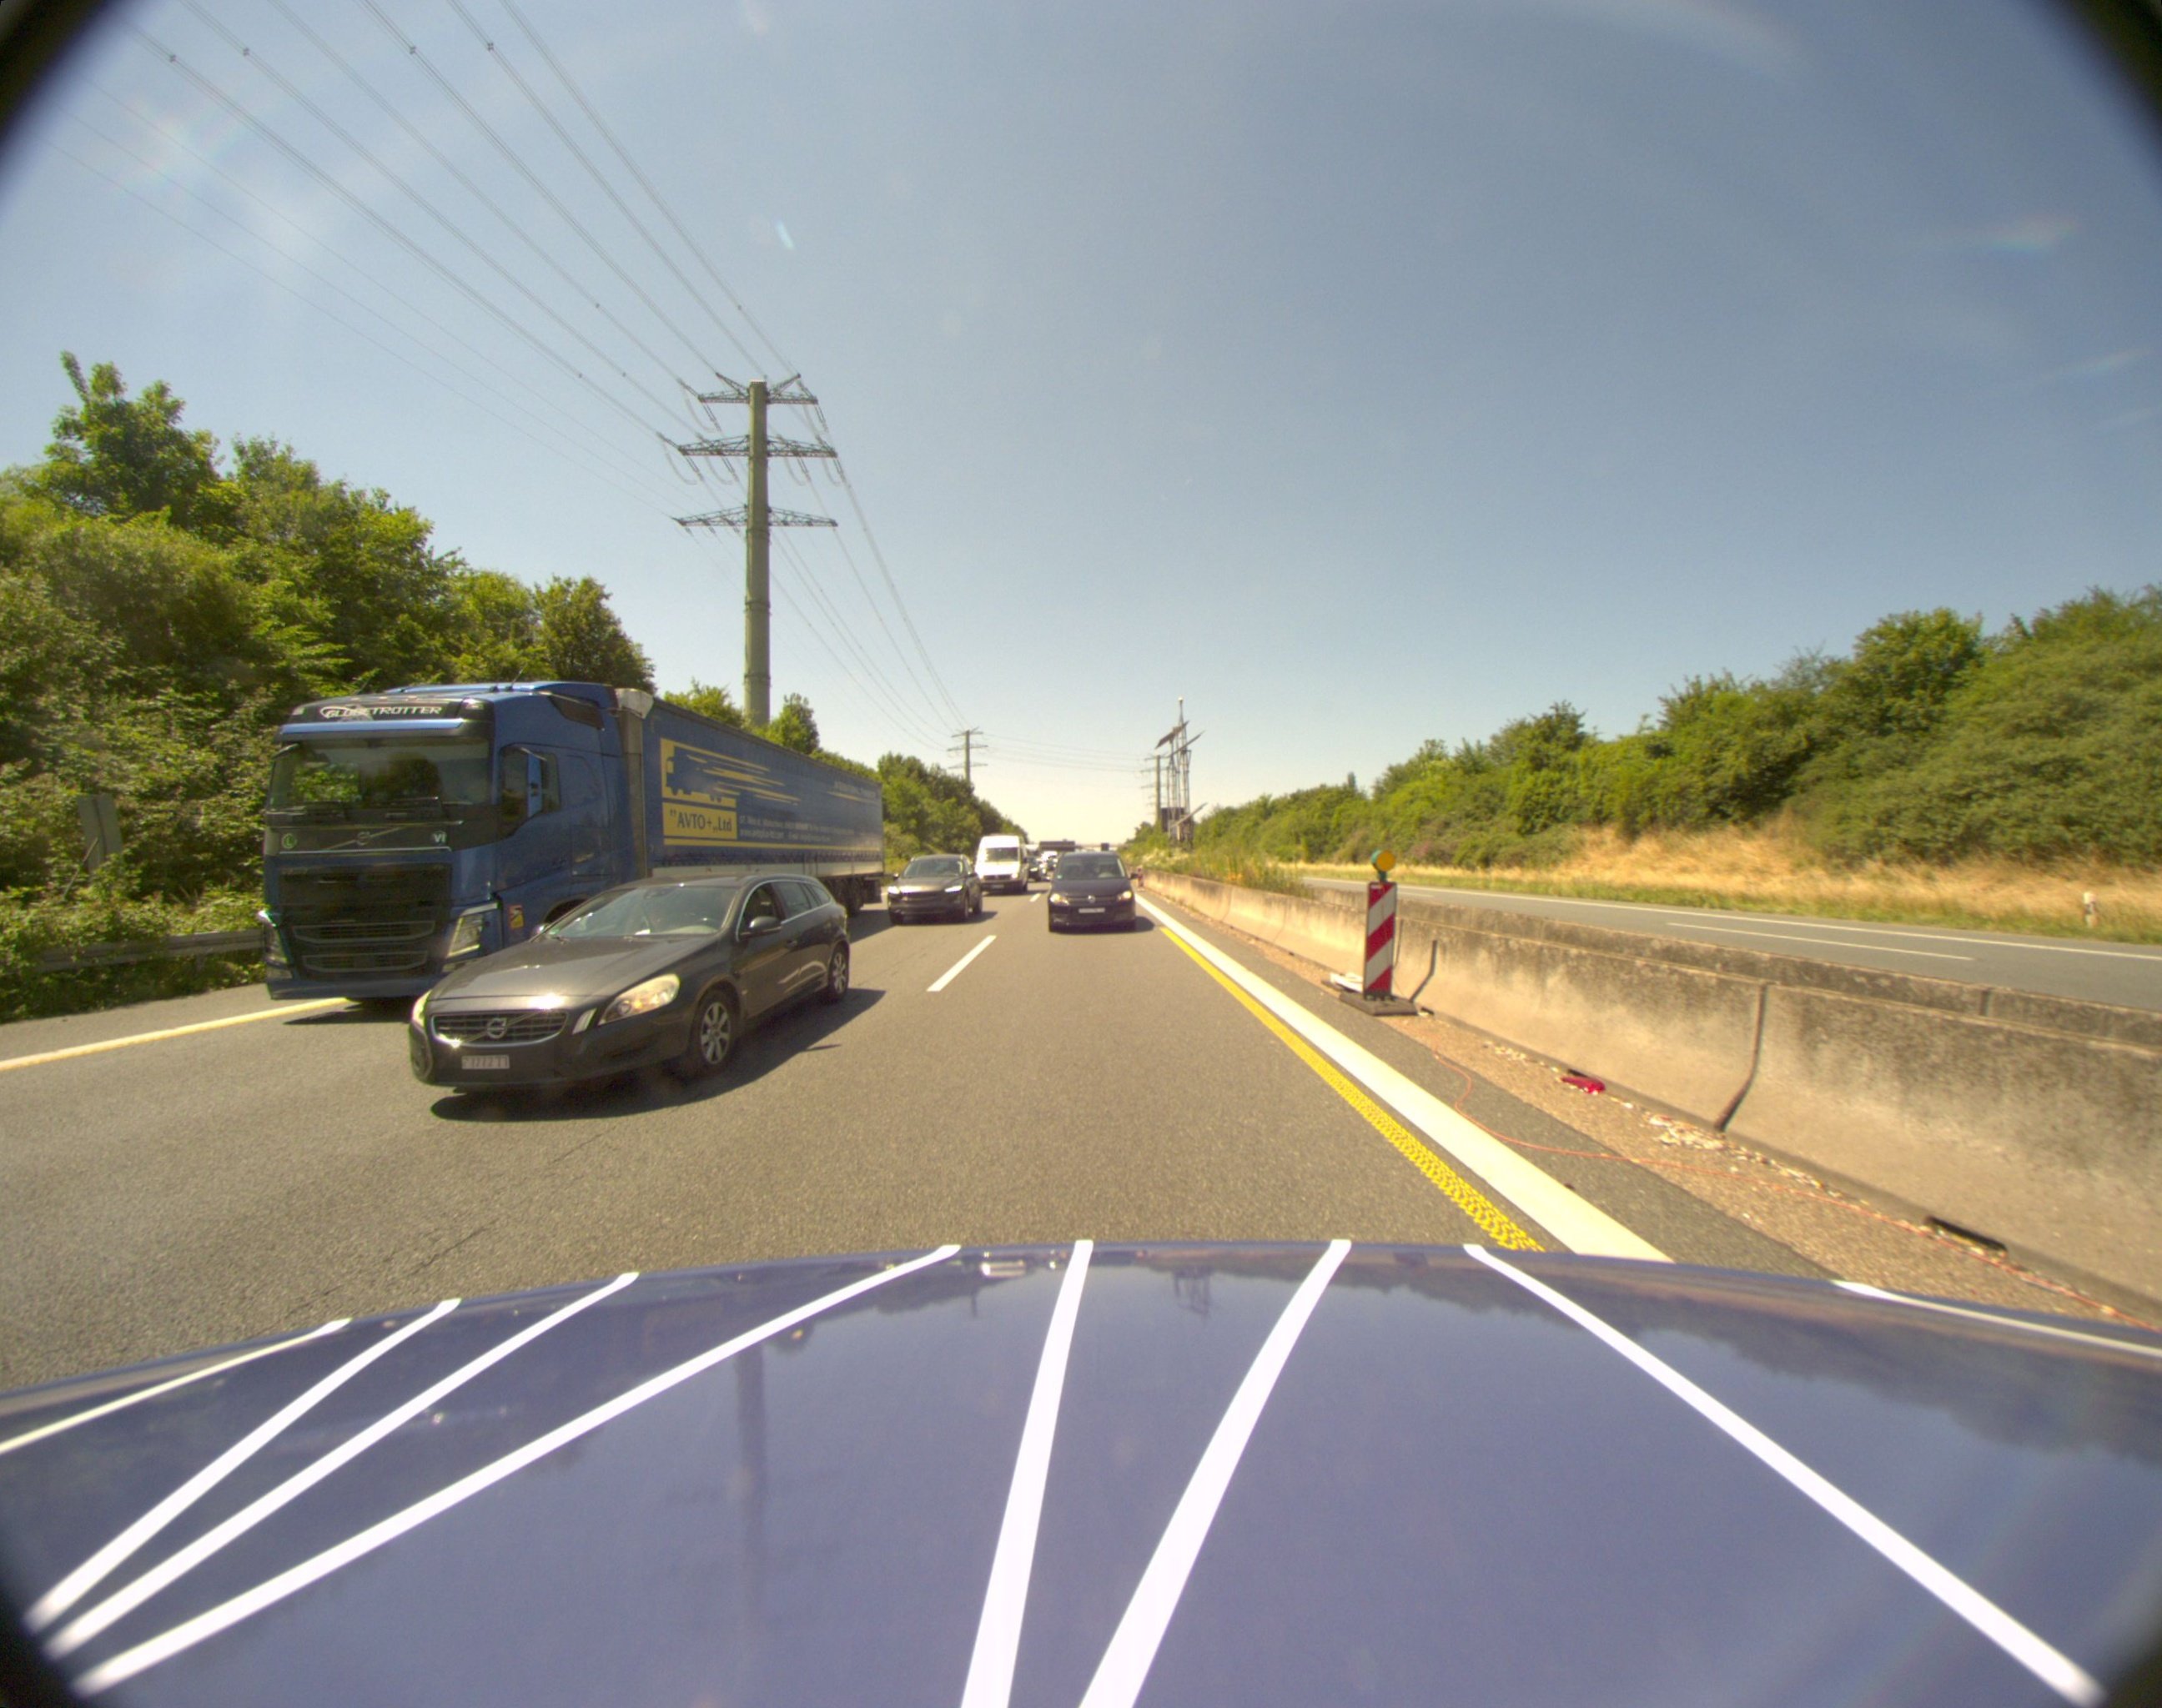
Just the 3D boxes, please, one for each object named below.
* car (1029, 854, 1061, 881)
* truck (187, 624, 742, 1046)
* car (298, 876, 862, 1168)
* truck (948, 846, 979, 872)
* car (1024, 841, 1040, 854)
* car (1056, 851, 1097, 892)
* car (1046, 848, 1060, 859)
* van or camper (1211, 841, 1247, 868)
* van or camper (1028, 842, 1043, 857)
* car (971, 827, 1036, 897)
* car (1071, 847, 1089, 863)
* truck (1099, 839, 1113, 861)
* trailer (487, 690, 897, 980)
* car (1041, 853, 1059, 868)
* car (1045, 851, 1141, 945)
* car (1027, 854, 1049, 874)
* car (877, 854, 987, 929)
[{"bbox_3d":[-2.222,0.819,47.713,1.720,1.510,3.873,-2,1,1],"label":"car"},{"bbox_3d":[-7.428,-0.208,10.443,2.792,4.121,5.636,-2,1,0],"label":"truck"},{"bbox_3d":[-3.485,1.023,6.560,1.799,1.411,4.509,-2,1,0],"label":"car"},{"bbox_3d":[-10.626,0.399,69.214,2.254,2.155,5.726,-2,1,-4],"label":"truck"},{"bbox_3d":[-6.210,-0.813,96.921,1.720,1.510,3.873,-2,1,1],"label":"car"},{"bbox_3d":[-0.176,0.736,34.443,1.700,1.641,4.219,-2,1,0],"label":"car"},{"bbox_3d":[-4.046,-0.089,108.733,1.720,1.510,3.873,-2,1,1],"label":"car"},{"bbox_3d":[15.542,0.027,80.093,2.228,2.695,7.079,2,1,-1],"label":"van or camper"},{"bbox_3d":[-7.666,-0.744,128.594,1.978,2.511,4.369,-2,1,1],"label":"van or camper"},{"bbox_3d":[-3.287,0.286,33.522,2.042,2.703,6.705,-2,1,0],"label":"car"},{"bbox_3d":[-0.094,0.099,87.494,1.973,1.682,3.873,-2,1,1],"label":"car"},{"bbox_3d":[3.842,-0.632,118.269,1.892,3.263,5.590,-2,1,1],"label":"truck"},{"bbox_3d":[-7.387,-0.336,17.847,2.774,4.239,12.876,-2,1,0],"label":"trailer"},{"bbox_3d":[-3.310,0.681,81.458,1.720,1.510,3.873,-2,1,1],"label":"car"},{"bbox_3d":[0.235,0.811,16.103,1.700,1.641,4.219,-2,1,0],"label":"car"},{"bbox_3d":[-3.624,0.805,64.274,1.720,1.510,3.872,-2,1,-2],"label":"car"},{"bbox_3d":[-3.644,0.851,19.415,1.893,1.602,4.219,-2,1,0],"label":"car"}]
